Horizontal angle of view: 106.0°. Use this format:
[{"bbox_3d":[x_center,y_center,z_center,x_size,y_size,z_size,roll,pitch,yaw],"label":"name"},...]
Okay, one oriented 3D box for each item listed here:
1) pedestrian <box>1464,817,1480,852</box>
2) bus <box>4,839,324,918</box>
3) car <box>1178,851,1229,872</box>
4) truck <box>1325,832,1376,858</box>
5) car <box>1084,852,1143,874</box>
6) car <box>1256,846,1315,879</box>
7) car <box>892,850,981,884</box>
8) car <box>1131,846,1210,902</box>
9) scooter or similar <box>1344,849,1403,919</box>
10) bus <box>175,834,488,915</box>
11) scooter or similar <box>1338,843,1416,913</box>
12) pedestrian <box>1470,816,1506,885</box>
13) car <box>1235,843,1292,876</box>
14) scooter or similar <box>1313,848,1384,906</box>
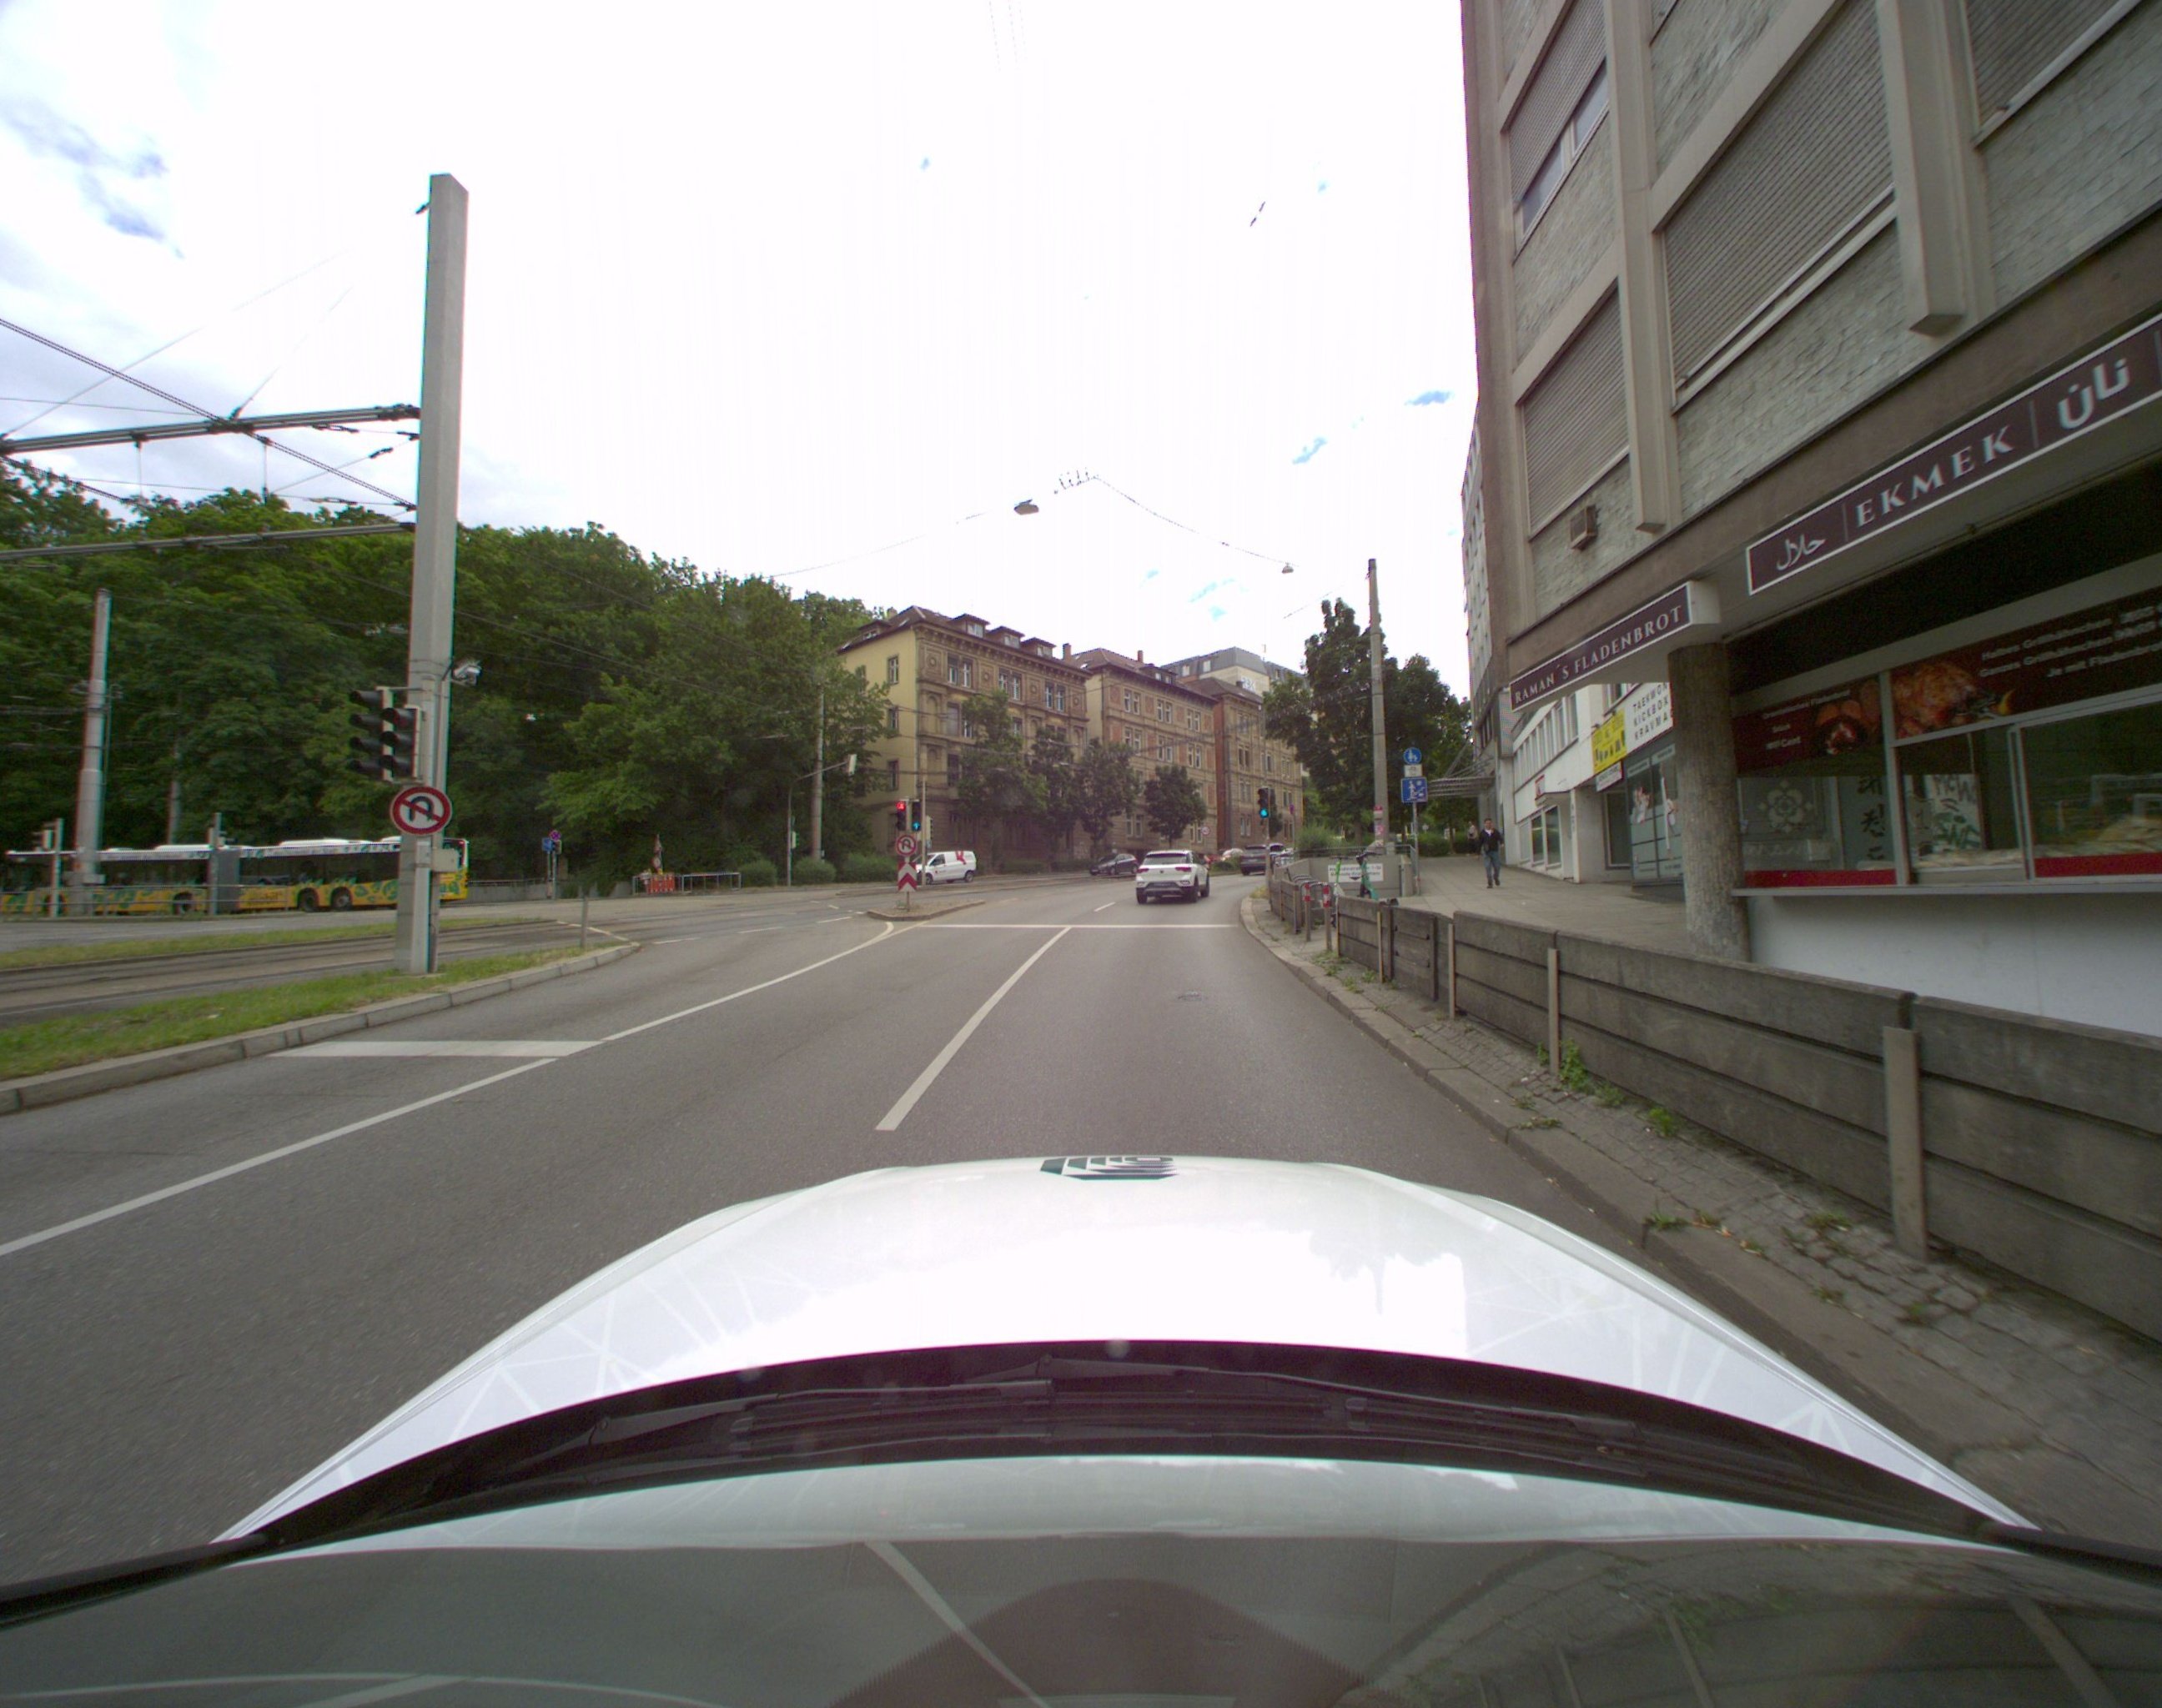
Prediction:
[{"bbox_3d":[20.668,-1.038,43.036,0.667,1.794,0.612,-2,0,20],"label":"pedestrian"},{"bbox_3d":[-40.345,1.040,36.007,11.267,3.043,3.330,-2,0,6],"label":"bus"},{"bbox_3d":[9.364,0.564,62.011,1.974,1.519,4.433,-2,-2,38],"label":"car"},{"bbox_3d":[32.183,-1.008,97.128,2.893,2.507,7.198,13,7,40],"label":"truck"},{"bbox_3d":[2.314,0.602,56.807,1.725,1.427,4.433,-2,-1,40],"label":"car"},{"bbox_3d":[10.357,0.420,41.111,1.884,1.574,3.858,0,-1,30],"label":"car"},{"bbox_3d":[-8.399,0.751,47.831,1.974,1.849,5.024,-2,-1,40],"label":"car"},{"bbox_3d":[2.857,0.594,25.229,1.924,1.566,4.061,-1,-1,13],"label":"car"},{"bbox_3d":[5.175,0.512,14.407,1.013,1.182,0.373,-1,0,-29],"label":"scooter or similar"},{"bbox_3d":[-32.112,0.879,35.047,11.443,3.029,3.399,-2,0,9],"label":"bus"},{"bbox_3d":[5.748,0.440,15.803,1.449,1.254,0.552,-3,0,-29],"label":"scooter or similar"},{"bbox_3d":[10.979,-0.109,22.006,0.826,1.810,1.157,0,0,25],"label":"pedestrian"},{"bbox_3d":[10.095,0.322,44.899,1.822,1.740,4.025,-1,-2,32],"label":"car"},{"bbox_3d":[5.736,0.481,17.448,1.449,1.182,0.577,-1,0,-29],"label":"scooter or similar"}]
